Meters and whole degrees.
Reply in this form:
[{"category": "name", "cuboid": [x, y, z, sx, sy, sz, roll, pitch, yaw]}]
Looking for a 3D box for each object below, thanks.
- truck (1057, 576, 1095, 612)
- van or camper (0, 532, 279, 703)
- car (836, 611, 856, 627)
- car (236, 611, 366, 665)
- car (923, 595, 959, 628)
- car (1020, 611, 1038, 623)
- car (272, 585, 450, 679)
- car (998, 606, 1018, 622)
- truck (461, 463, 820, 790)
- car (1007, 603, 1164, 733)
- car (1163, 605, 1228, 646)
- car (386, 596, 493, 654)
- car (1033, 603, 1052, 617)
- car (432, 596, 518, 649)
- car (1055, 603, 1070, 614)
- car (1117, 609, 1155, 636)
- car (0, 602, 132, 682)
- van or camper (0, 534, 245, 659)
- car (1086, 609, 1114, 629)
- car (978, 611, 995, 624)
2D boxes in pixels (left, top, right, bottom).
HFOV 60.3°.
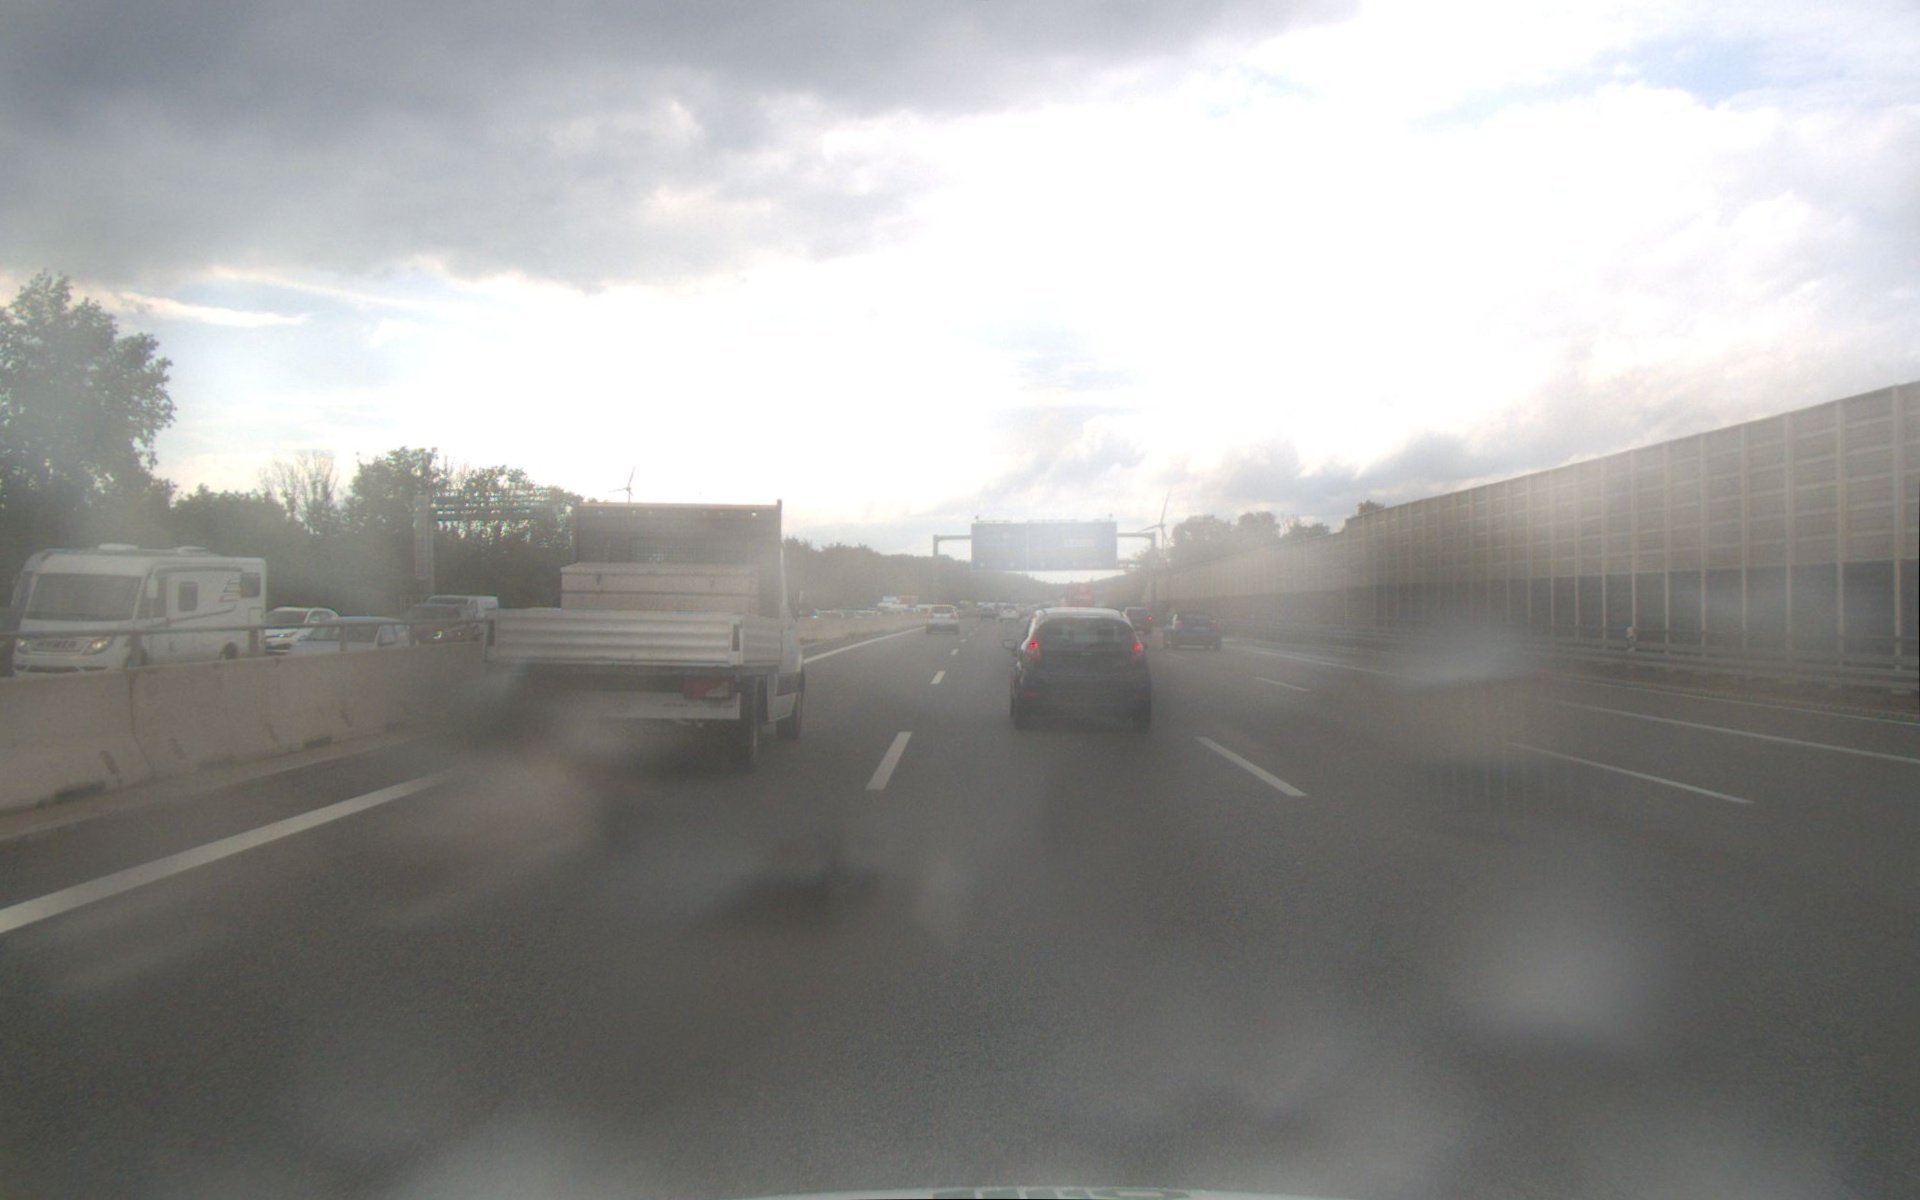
[{"category": "truck", "cuboid": [12.316, -0.643, 176.223, 3.088, 3.664, 12.699, 2, 0, 0]}, {"category": "van or camper", "cuboid": [-16.628, 0.338, 33.367, 2.571, 3.003, 7.359, 2, -1, 1]}, {"category": "car", "cuboid": [-12.402, 2.055, 179.785, 1.687, 1.631, 4.645, 2, -1, 2]}, {"category": "car", "cuboid": [-19.646, 1.105, 49.570, 1.687, 1.481, 5.020, 2, -1, 2]}, {"category": "car", "cuboid": [-0.976, 0.607, 87.400, 1.681, 1.652, 4.280, 1, 1, 2]}, {"category": "car", "cuboid": [8.747, 2.156, 210.144, 1.928, 1.588, 4.432, 0, -1, -1]}, {"category": "car", "cuboid": [-11.719, 0.616, 32.714, 1.687, 1.674, 4.520, 2, -1, 2]}, {"category": "car", "cuboid": [4.760, 1.407, 164.632, 1.927, 1.588, 4.432, 0, -1, 0]}, {"category": "truck", "cuboid": [-2.753, 0.179, 16.299, 2.260, 2.482, 7.147, 1, 0, -1]}, {"category": "car", "cuboid": [1.505, 0.787, 21.189, 1.682, 1.441, 4.278, 1, 0, 0]}, {"category": "car", "cuboid": [8.729, 0.939, 61.639, 1.909, 1.443, 4.232, 0, 0, 1]}, {"category": "car", "cuboid": [-15.979, 0.764, 51.043, 1.687, 1.674, 4.520, 2, -1, 2]}, {"category": "car", "cuboid": [9.422, 1.148, 188.088, 1.927, 1.588, 4.432, 0, -1, 0]}, {"category": "car", "cuboid": [-18.988, 0.881, 64.993, 1.653, 1.970, 5.548, 2, -1, 0]}, {"category": "car", "cuboid": [14.364, 1.194, 232.156, 1.927, 1.588, 4.432, 0, -1, 0]}, {"category": "car", "cuboid": [10.408, 1.353, 98.070, 1.844, 1.569, 4.433, 0, -1, 1]}, {"category": "car", "cuboid": [-19.928, 0.855, 35.282, 1.809, 1.574, 5.020, 2, -1, 2]}, {"category": "van or camper", "cuboid": [-23.545, -0.045, 47.022, 2.571, 3.177, 8.477, 2, -1, 1]}, {"category": "car", "cuboid": [11.182, 1.531, 132.177, 1.844, 1.588, 4.432, 0, -1, 0]}, {"category": "car", "cuboid": [3.265, 2.175, 204.526, 1.927, 1.588, 4.432, 0, -1, 0]}]
